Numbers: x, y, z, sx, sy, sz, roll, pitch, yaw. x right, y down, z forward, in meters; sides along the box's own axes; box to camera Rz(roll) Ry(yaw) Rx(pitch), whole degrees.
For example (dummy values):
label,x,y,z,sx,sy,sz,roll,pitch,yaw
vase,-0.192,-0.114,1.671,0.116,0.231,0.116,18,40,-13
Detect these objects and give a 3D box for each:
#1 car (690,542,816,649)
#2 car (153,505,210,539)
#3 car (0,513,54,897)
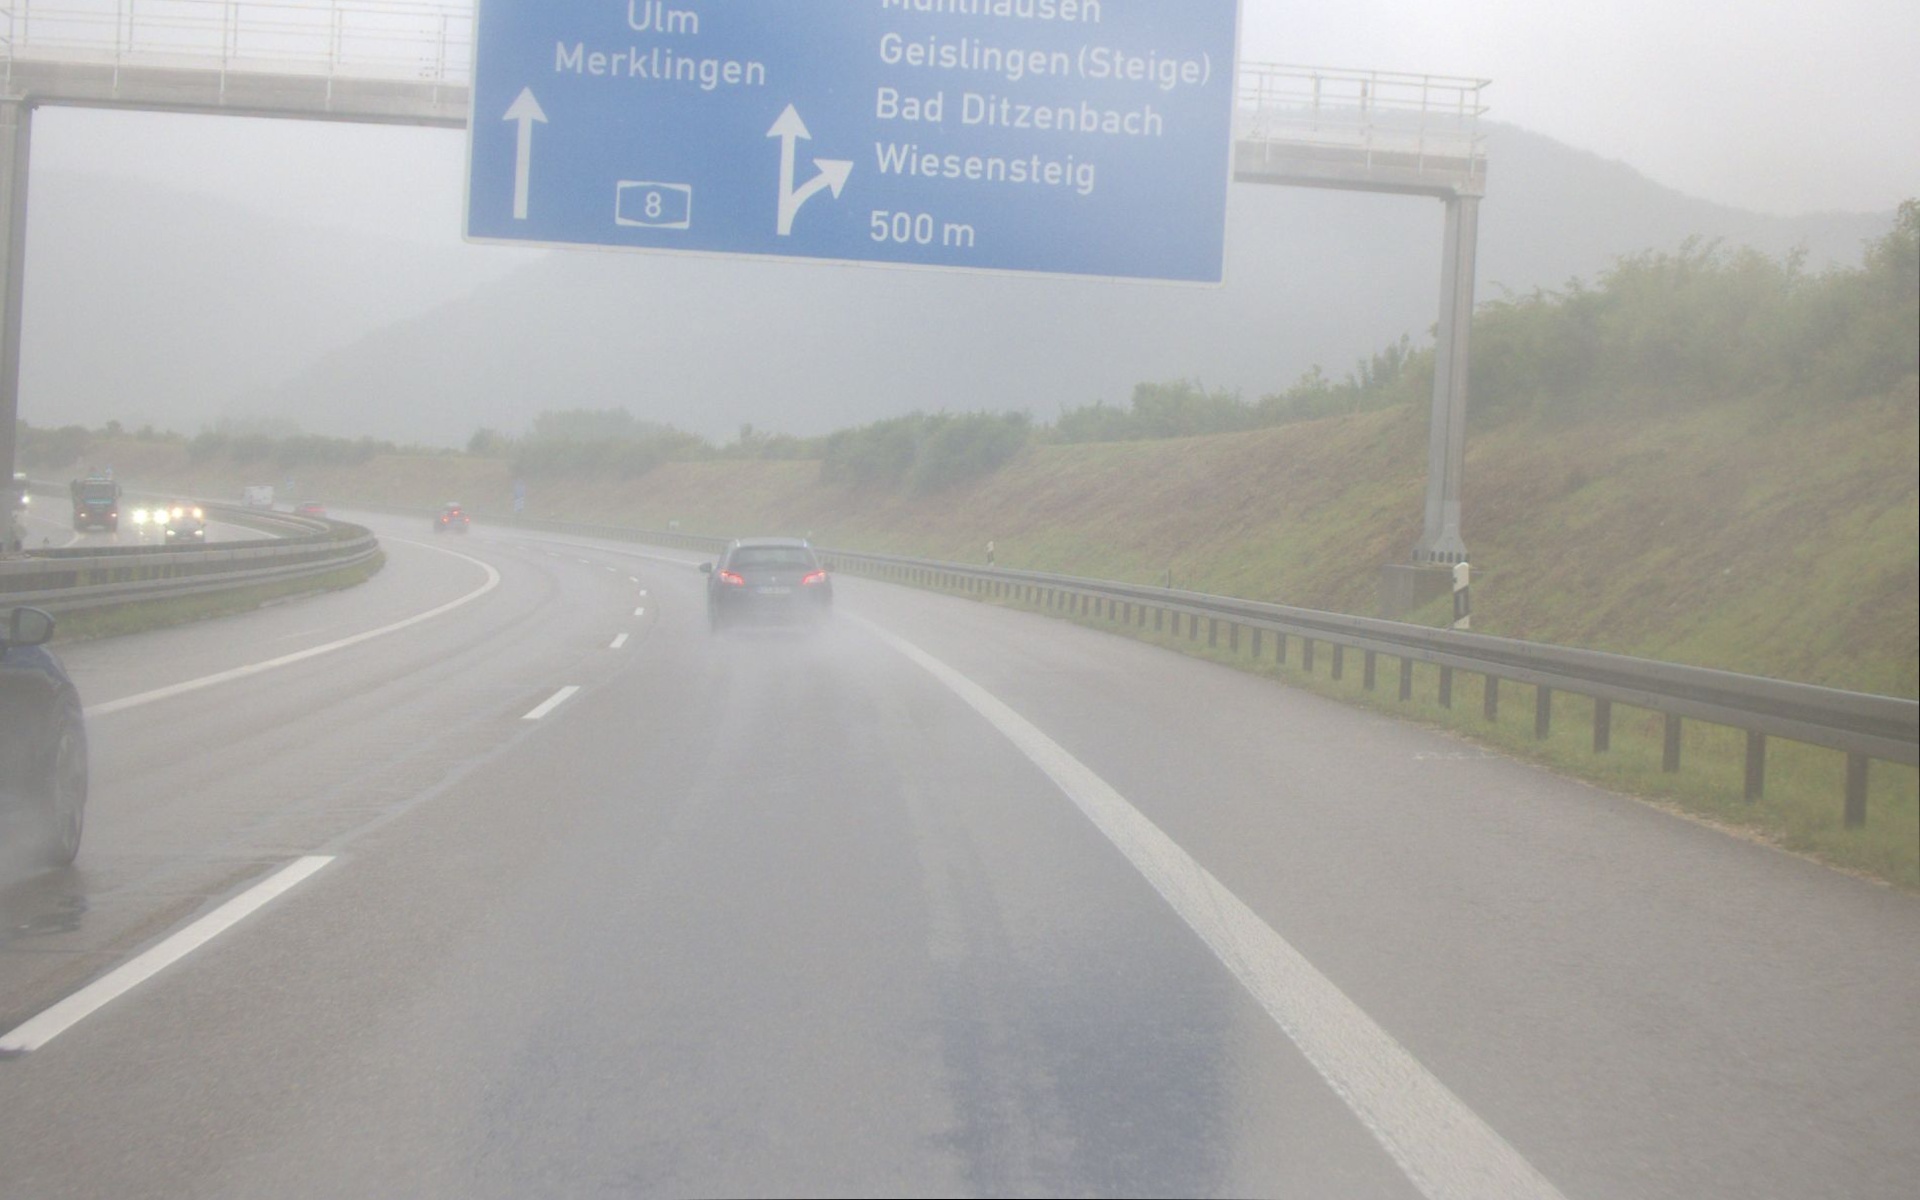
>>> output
label,x,y,z,sx,sy,sz,roll,pitch,yaw
car,-3.039,-0.093,51.048,1.679,1.467,3.815,2,1,-1
car,-37.728,-3.768,166.660,1.993,1.514,4.001,2,1,-3
car,-5.015,0.374,13.685,2.405,1.510,4.785,2,1,-11
